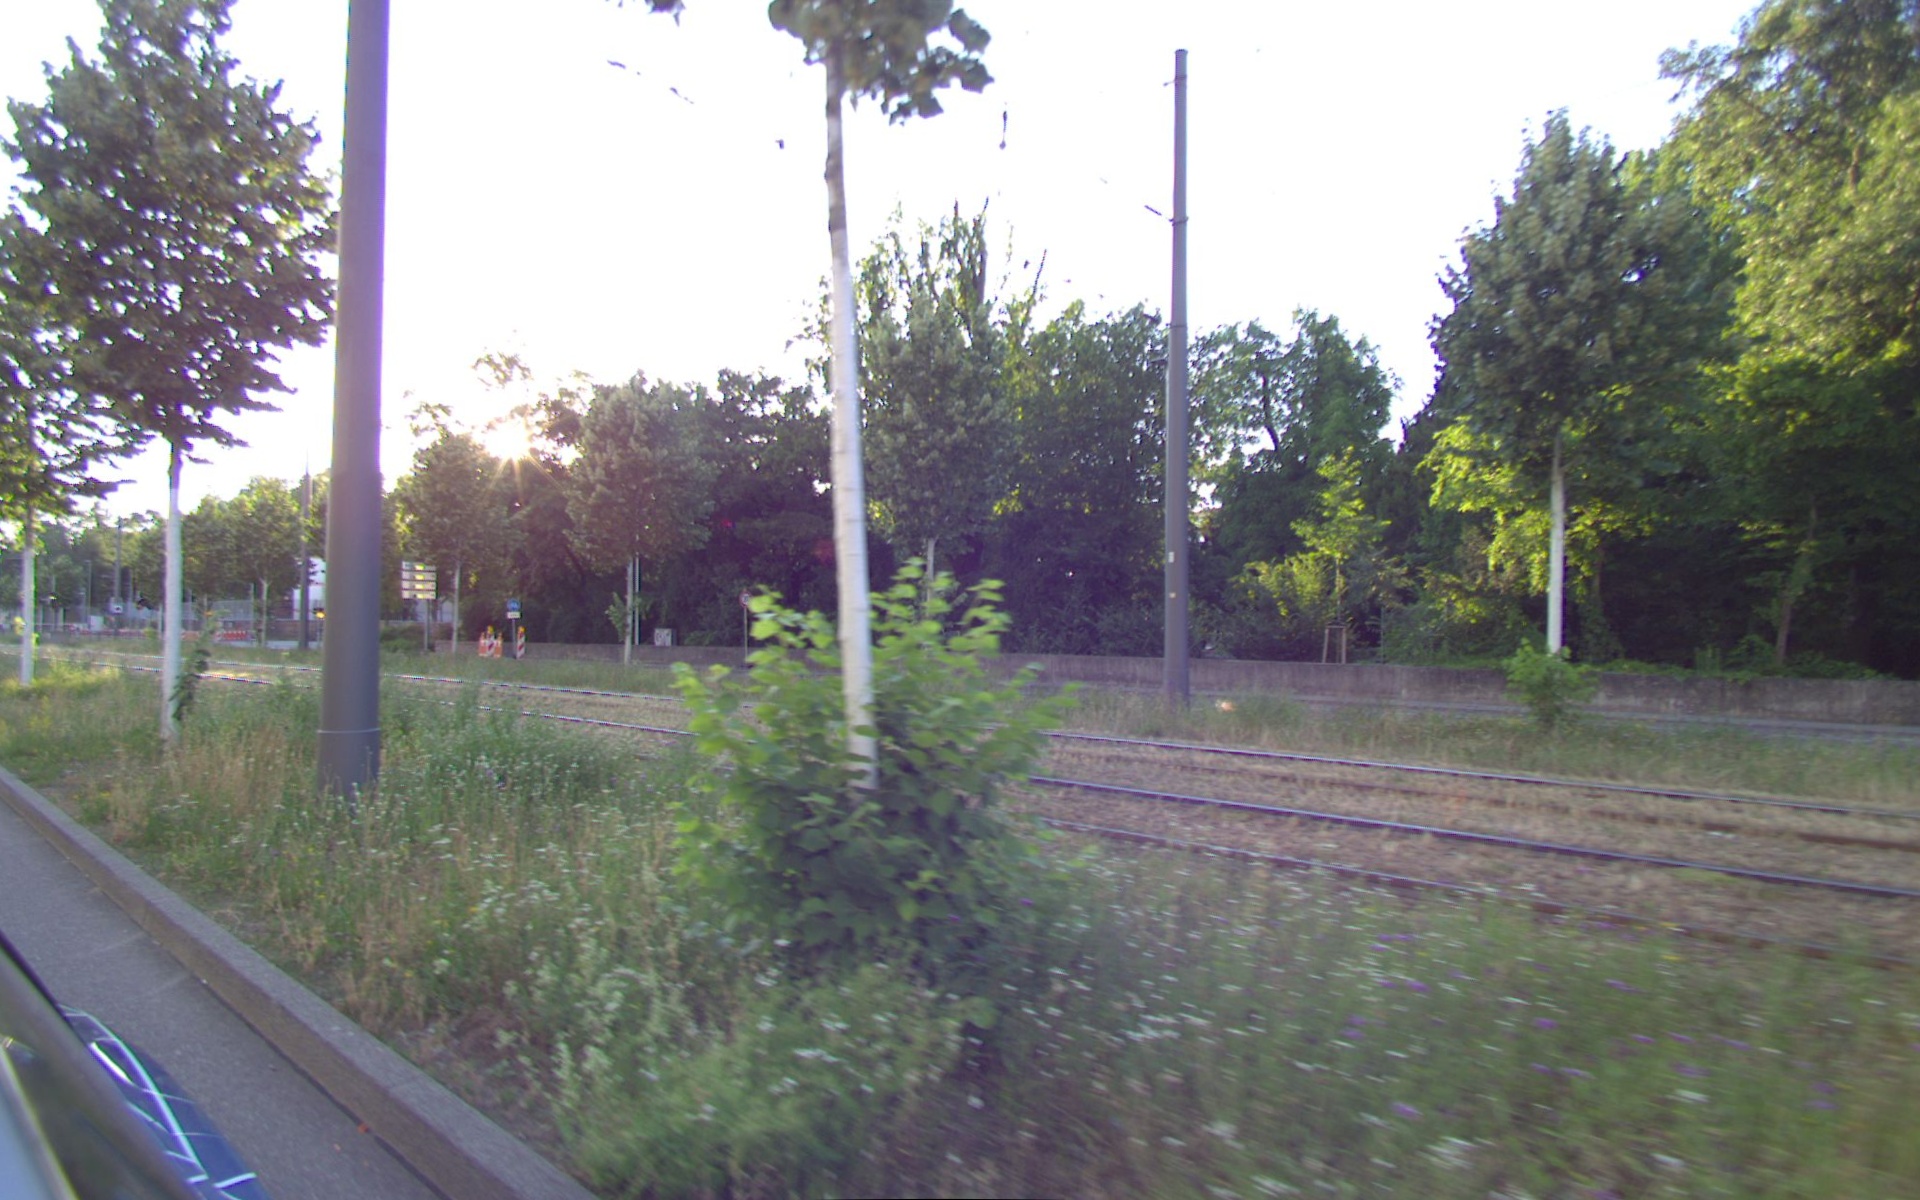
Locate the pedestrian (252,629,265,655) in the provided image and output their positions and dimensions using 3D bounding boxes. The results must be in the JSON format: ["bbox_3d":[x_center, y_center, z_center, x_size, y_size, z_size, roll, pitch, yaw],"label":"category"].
[{"bbox_3d":[-46.937,2.810,67.716,0.660,1.620,0.679,-1,-5,-36],"label":"pedestrian"}]
